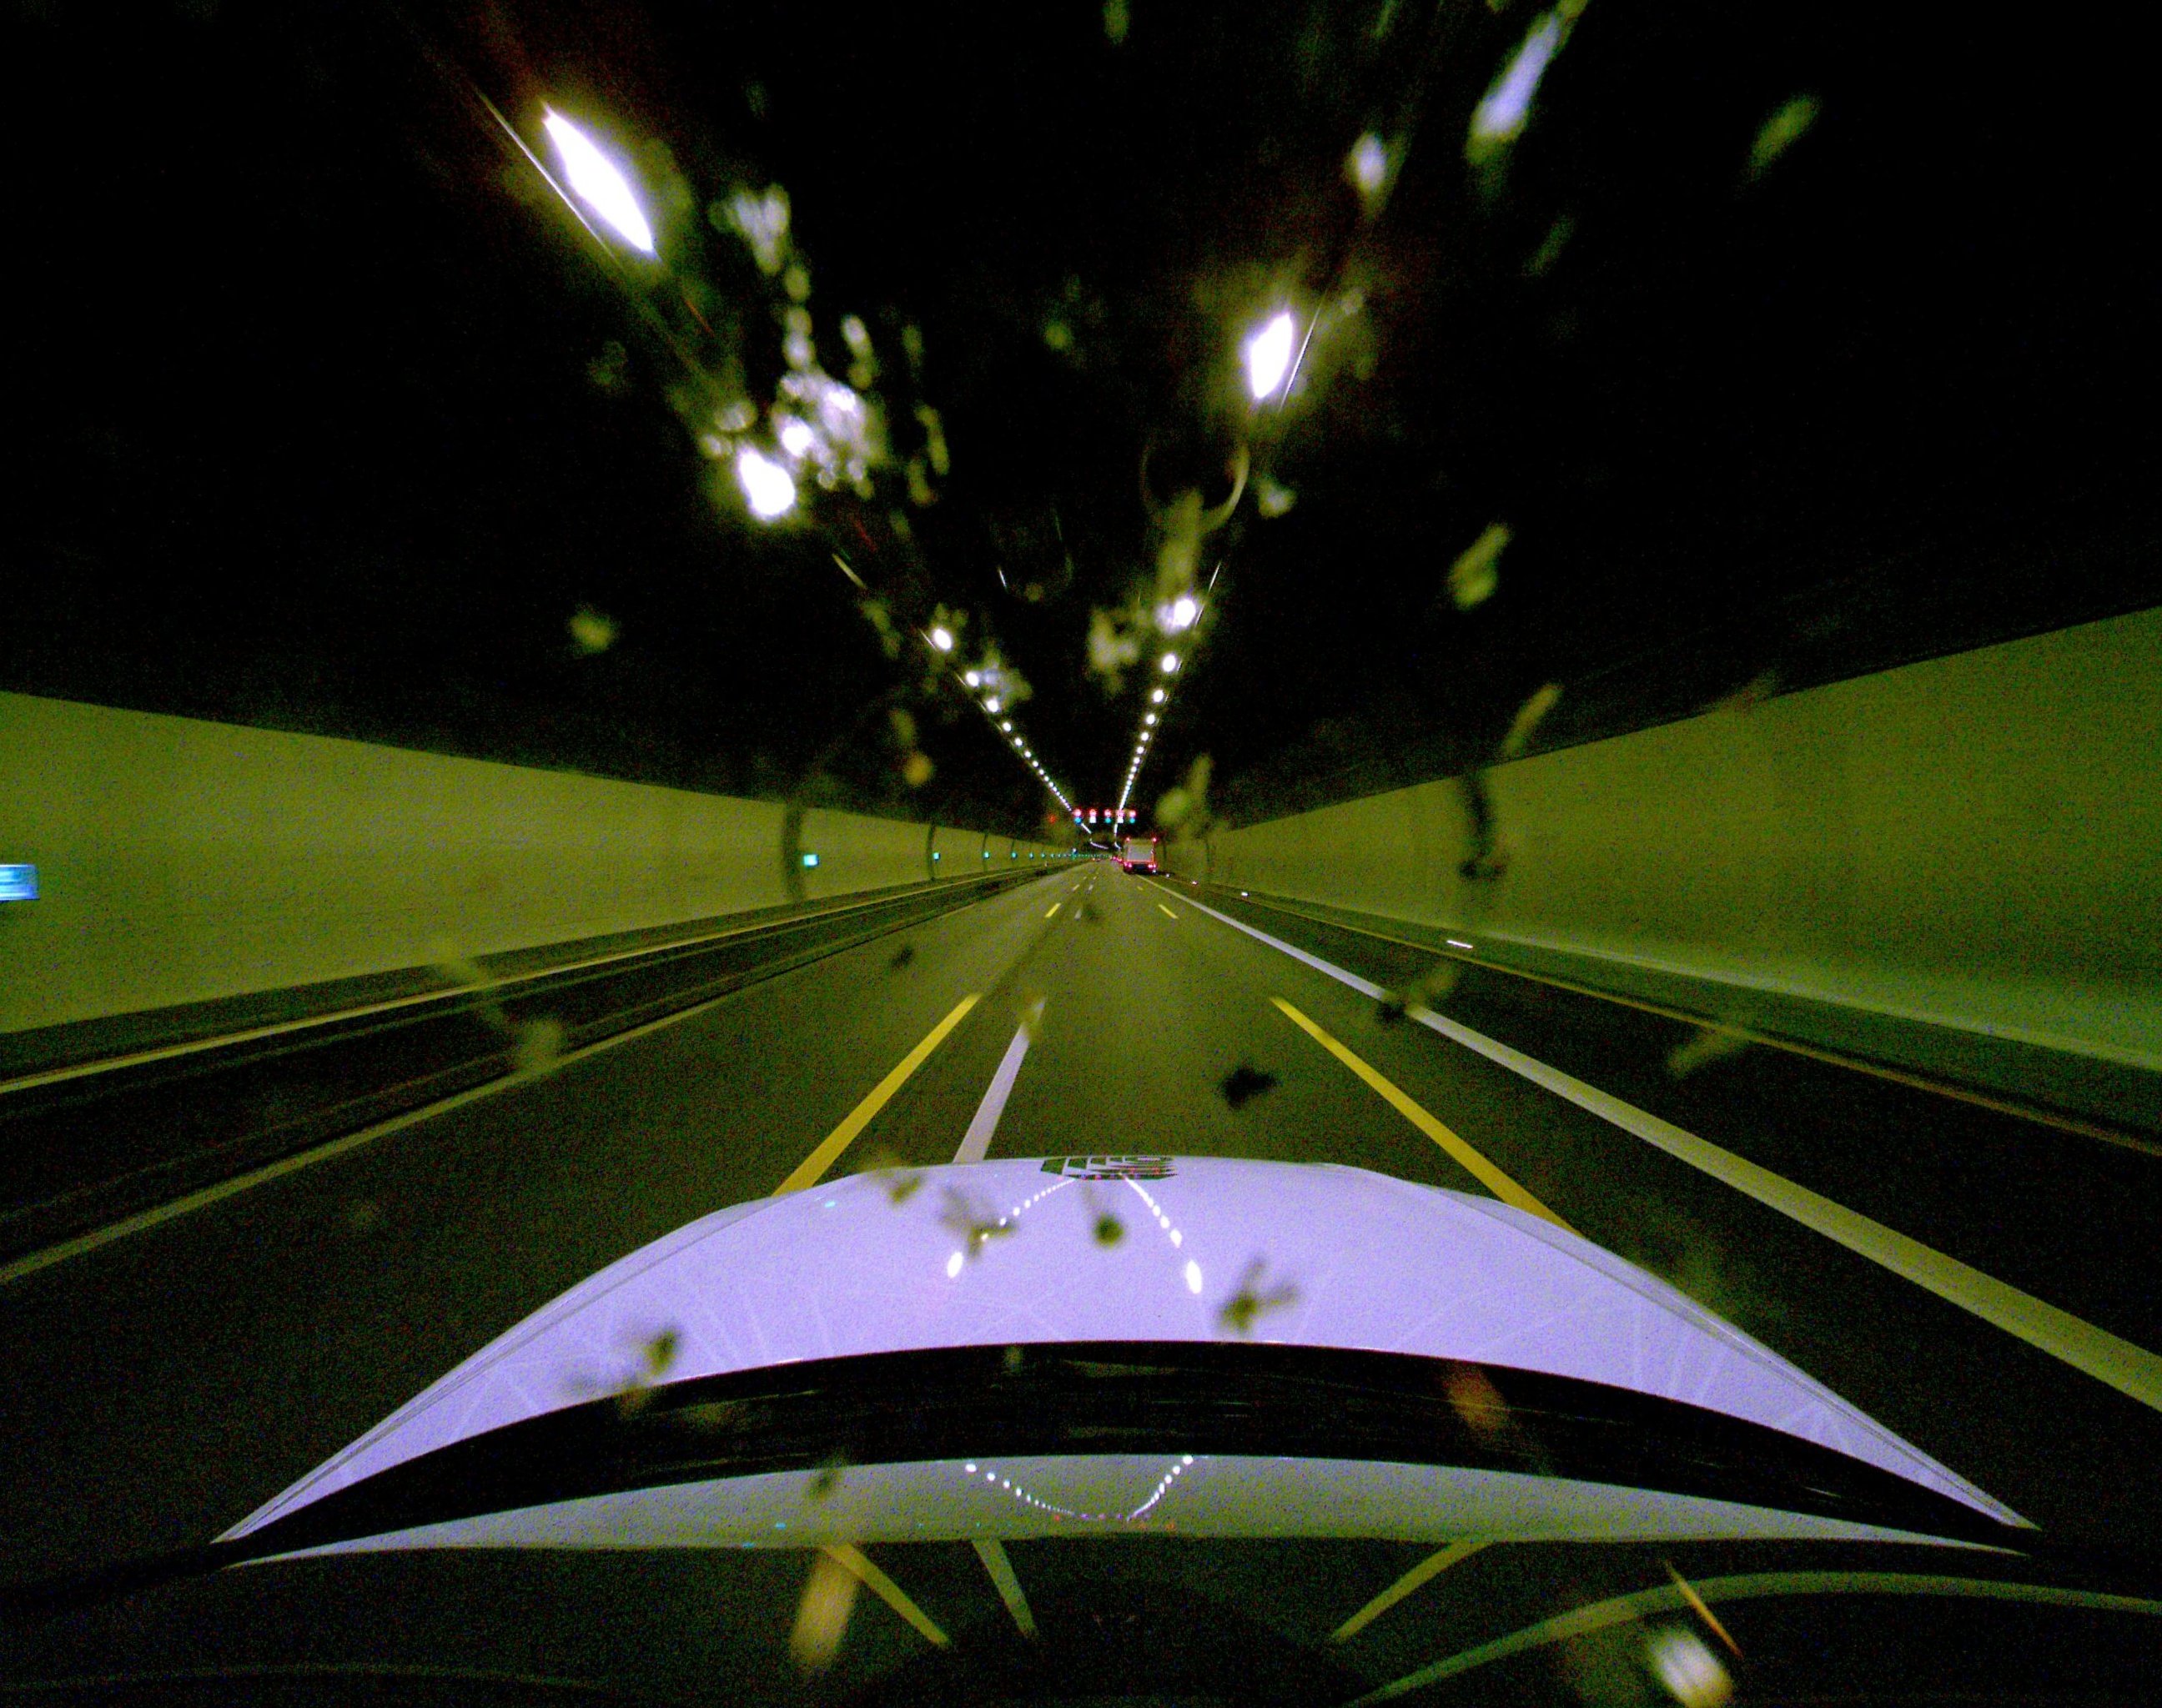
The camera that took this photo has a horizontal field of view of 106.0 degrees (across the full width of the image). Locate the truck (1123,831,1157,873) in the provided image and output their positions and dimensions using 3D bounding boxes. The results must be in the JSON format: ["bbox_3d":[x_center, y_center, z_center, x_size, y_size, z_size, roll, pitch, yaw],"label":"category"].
[{"bbox_3d":[5.755,-0.078,81.301,3.080,3.918,10.373,1,-1,2],"label":"truck"}]

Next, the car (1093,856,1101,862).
[{"bbox_3d":[3.963,1.172,203.838,1.752,1.461,4.121,0,0,2],"label":"car"}]

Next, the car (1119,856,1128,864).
[{"bbox_3d":[8.854,1.235,170.249,1.732,1.461,3.964,0,0,3],"label":"car"}]

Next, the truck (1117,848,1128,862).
[{"bbox_3d":[12.276,0.412,239.753,3.053,3.918,10.376,0,-1,4],"label":"truck"}]
